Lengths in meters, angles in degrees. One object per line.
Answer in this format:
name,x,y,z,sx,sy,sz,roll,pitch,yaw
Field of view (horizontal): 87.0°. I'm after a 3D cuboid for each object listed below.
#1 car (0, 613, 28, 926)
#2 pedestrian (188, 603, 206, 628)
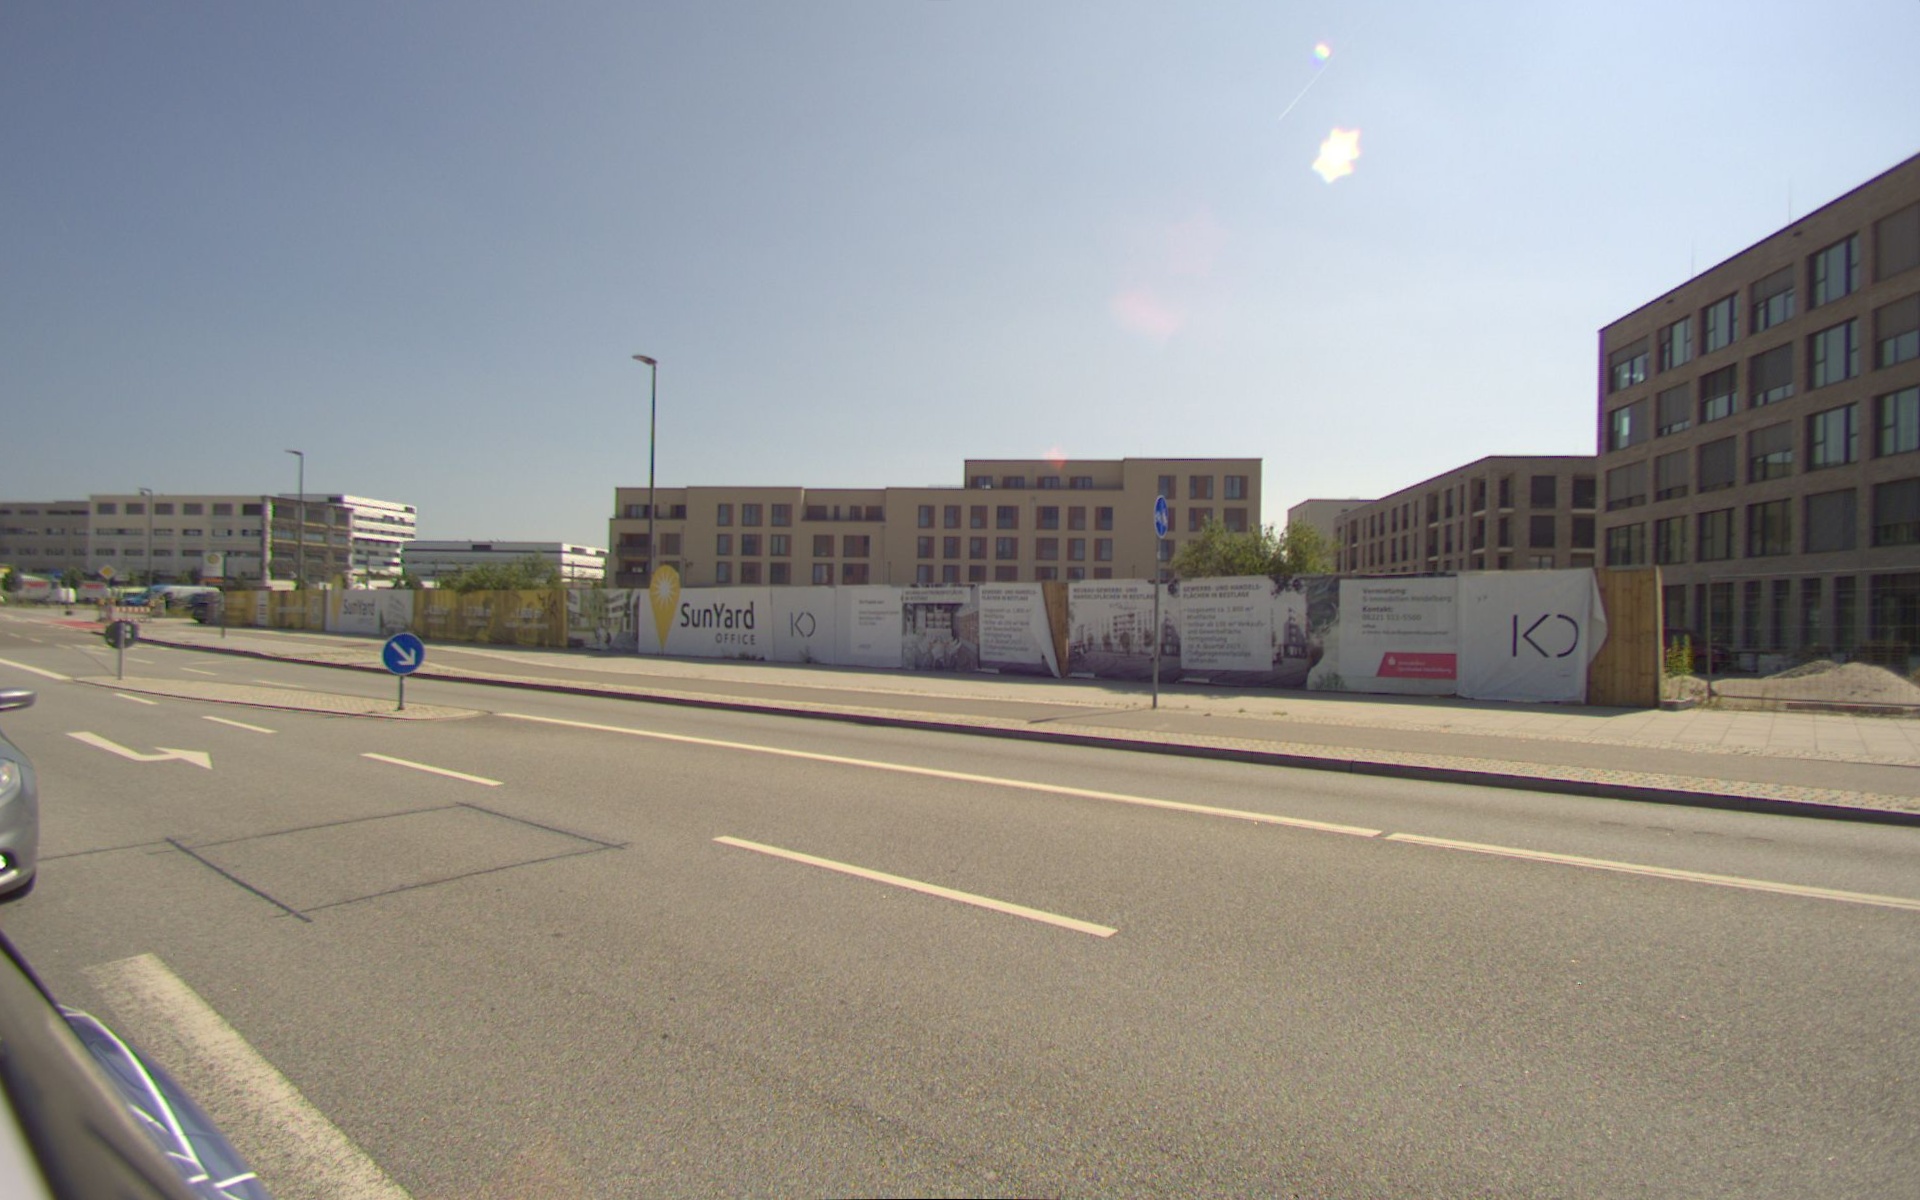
car,-6.345,0.782,5.271,4.134,1.390,1.762,-1,0,41
pedestrian,-49.028,0.983,65.069,0.610,1.598,0.703,-1,0,5
